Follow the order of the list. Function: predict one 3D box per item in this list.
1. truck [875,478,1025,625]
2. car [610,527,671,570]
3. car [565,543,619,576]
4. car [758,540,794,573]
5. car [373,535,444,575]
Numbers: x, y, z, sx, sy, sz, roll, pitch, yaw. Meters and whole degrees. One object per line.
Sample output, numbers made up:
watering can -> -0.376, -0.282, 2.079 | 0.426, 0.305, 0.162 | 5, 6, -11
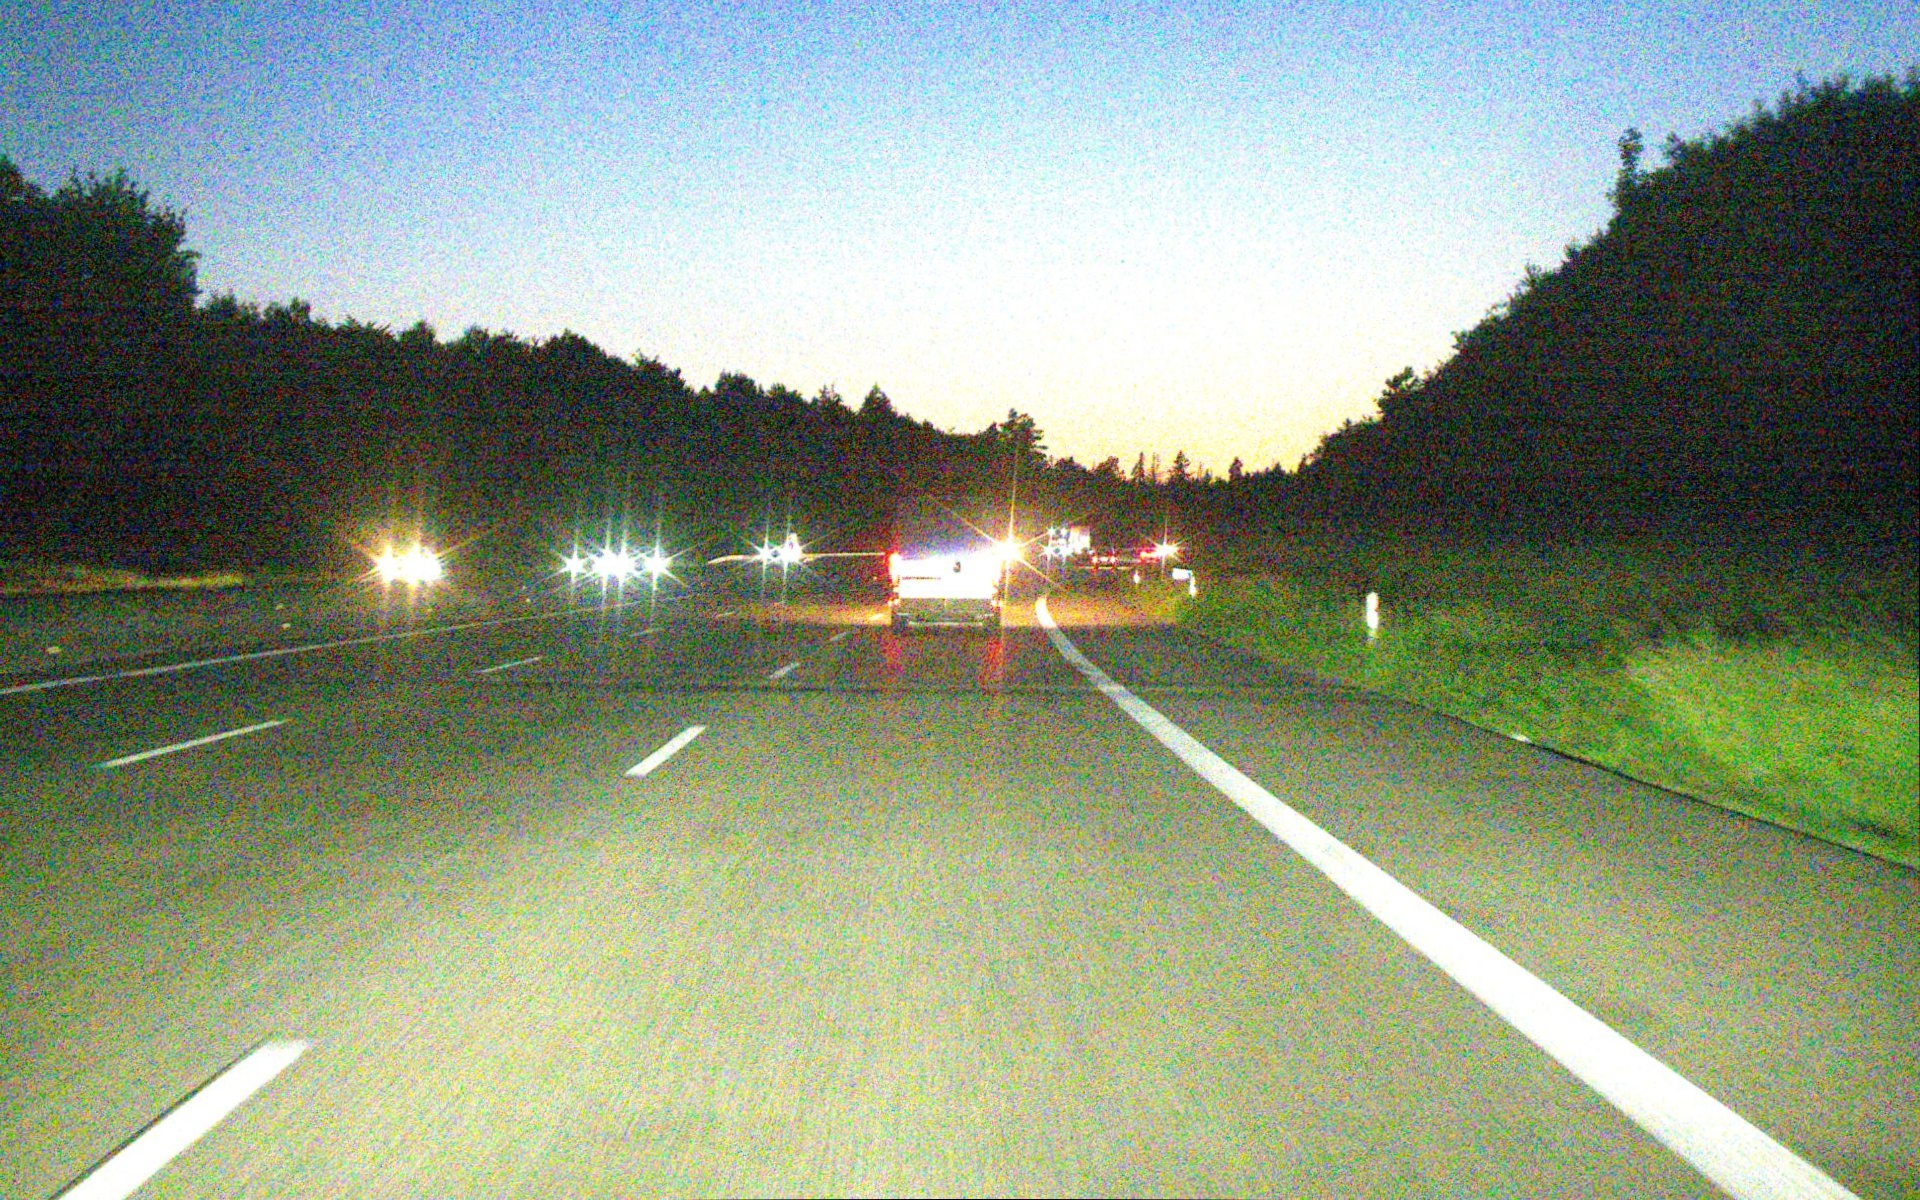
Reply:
truck -> -0.287, -0.923, 66.171 | 2.630, 2.615, 8.685 | 1, 1, -2
car -> -13.578, -2.186, 146.387 | 1.994, 1.784, 4.680 | 1, 1, 2
car -> -16.911, -1.841, 158.132 | 1.993, 1.475, 4.930 | 1, 1, 0
car -> -13.772, -3.247, 257.505 | 2.082, 2.479, 6.242 | 1, 1, 3
car -> -21.678, -1.761, 135.264 | 1.993, 1.503, 4.401 | 1, 1, 2
